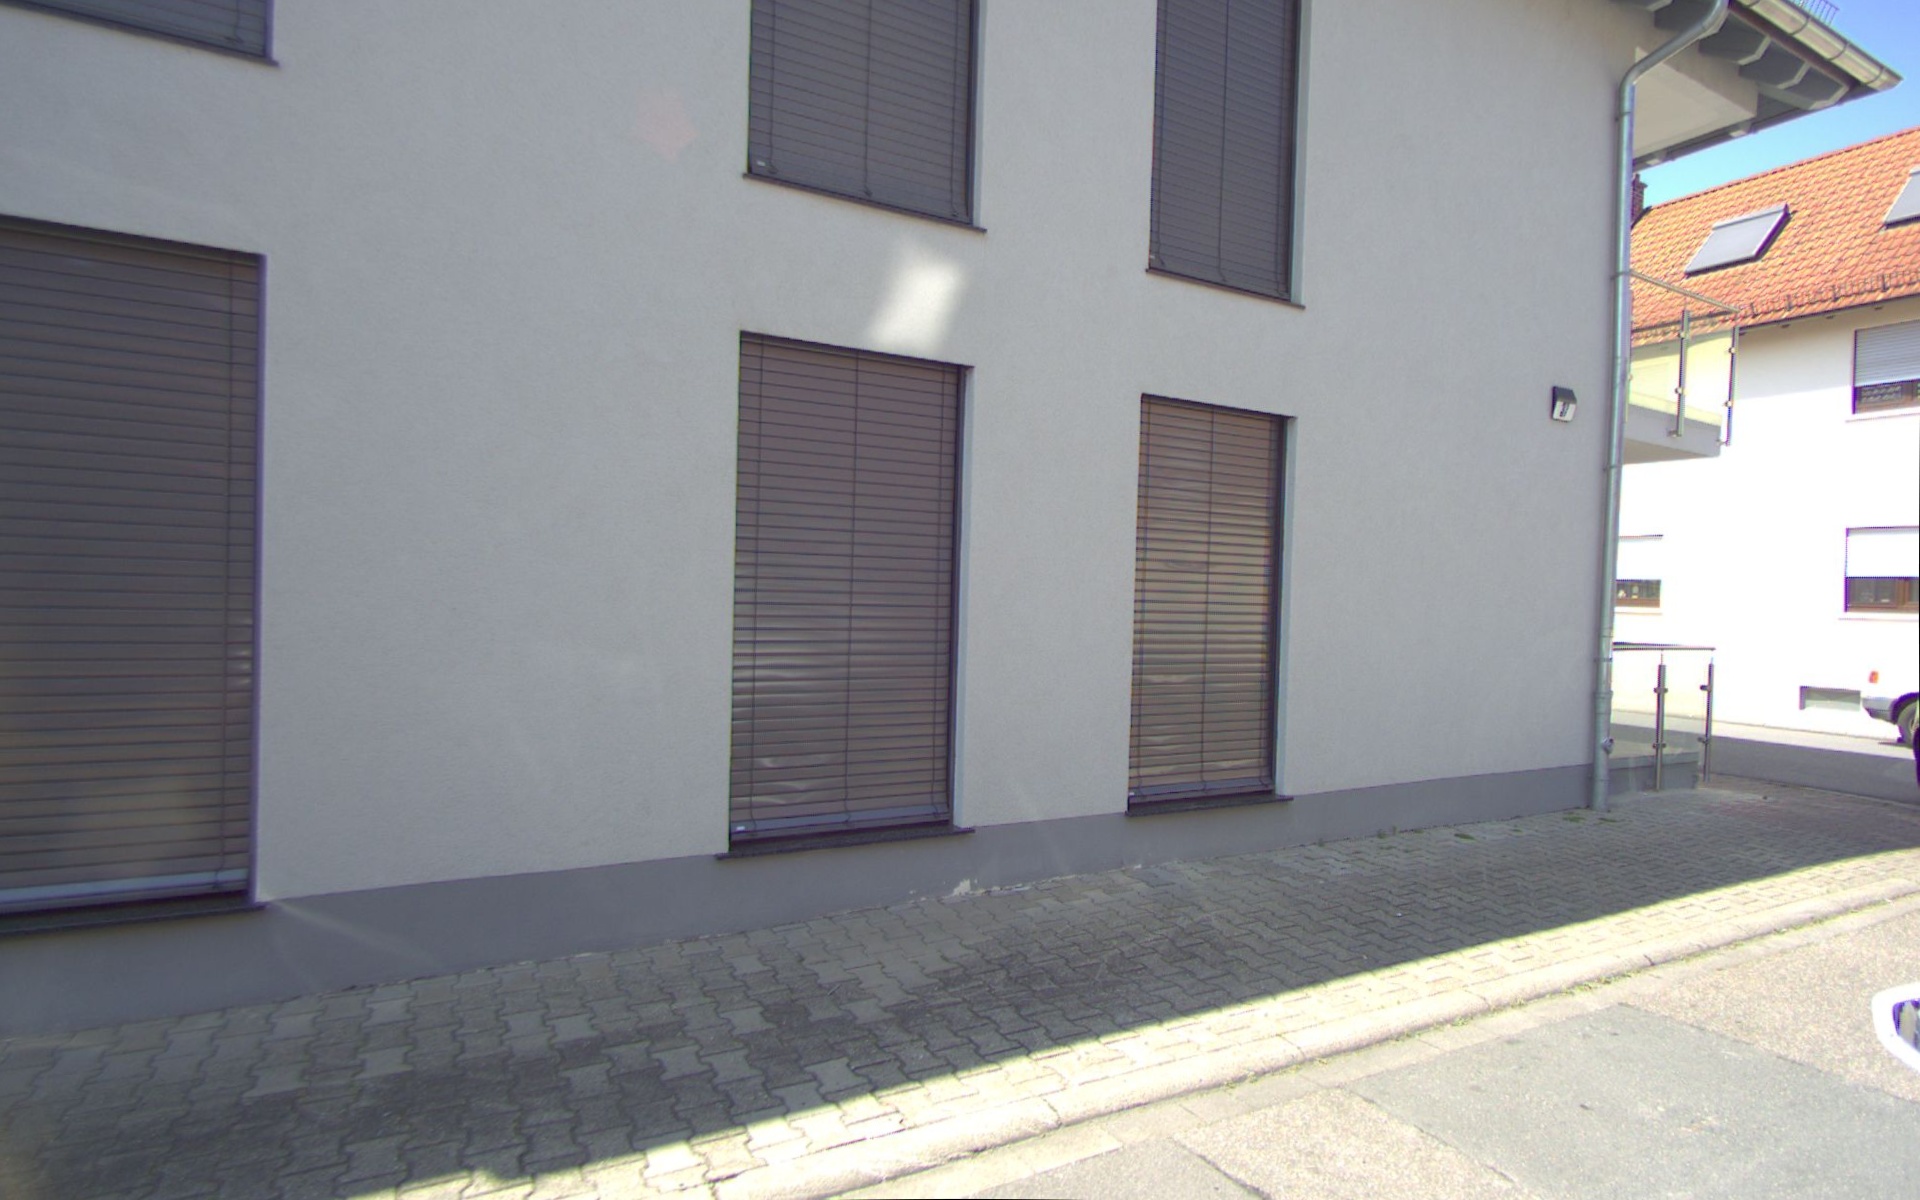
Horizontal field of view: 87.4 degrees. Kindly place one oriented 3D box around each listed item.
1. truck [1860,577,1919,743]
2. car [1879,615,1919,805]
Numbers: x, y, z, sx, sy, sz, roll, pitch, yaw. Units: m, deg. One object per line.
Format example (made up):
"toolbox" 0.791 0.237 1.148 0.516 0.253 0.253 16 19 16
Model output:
"truck" 13.691 0.830 11.150 2.162 2.040 5.043 2 1 -27
"car" 8.391 0.922 6.839 1.728 1.604 4.279 1 0 22
